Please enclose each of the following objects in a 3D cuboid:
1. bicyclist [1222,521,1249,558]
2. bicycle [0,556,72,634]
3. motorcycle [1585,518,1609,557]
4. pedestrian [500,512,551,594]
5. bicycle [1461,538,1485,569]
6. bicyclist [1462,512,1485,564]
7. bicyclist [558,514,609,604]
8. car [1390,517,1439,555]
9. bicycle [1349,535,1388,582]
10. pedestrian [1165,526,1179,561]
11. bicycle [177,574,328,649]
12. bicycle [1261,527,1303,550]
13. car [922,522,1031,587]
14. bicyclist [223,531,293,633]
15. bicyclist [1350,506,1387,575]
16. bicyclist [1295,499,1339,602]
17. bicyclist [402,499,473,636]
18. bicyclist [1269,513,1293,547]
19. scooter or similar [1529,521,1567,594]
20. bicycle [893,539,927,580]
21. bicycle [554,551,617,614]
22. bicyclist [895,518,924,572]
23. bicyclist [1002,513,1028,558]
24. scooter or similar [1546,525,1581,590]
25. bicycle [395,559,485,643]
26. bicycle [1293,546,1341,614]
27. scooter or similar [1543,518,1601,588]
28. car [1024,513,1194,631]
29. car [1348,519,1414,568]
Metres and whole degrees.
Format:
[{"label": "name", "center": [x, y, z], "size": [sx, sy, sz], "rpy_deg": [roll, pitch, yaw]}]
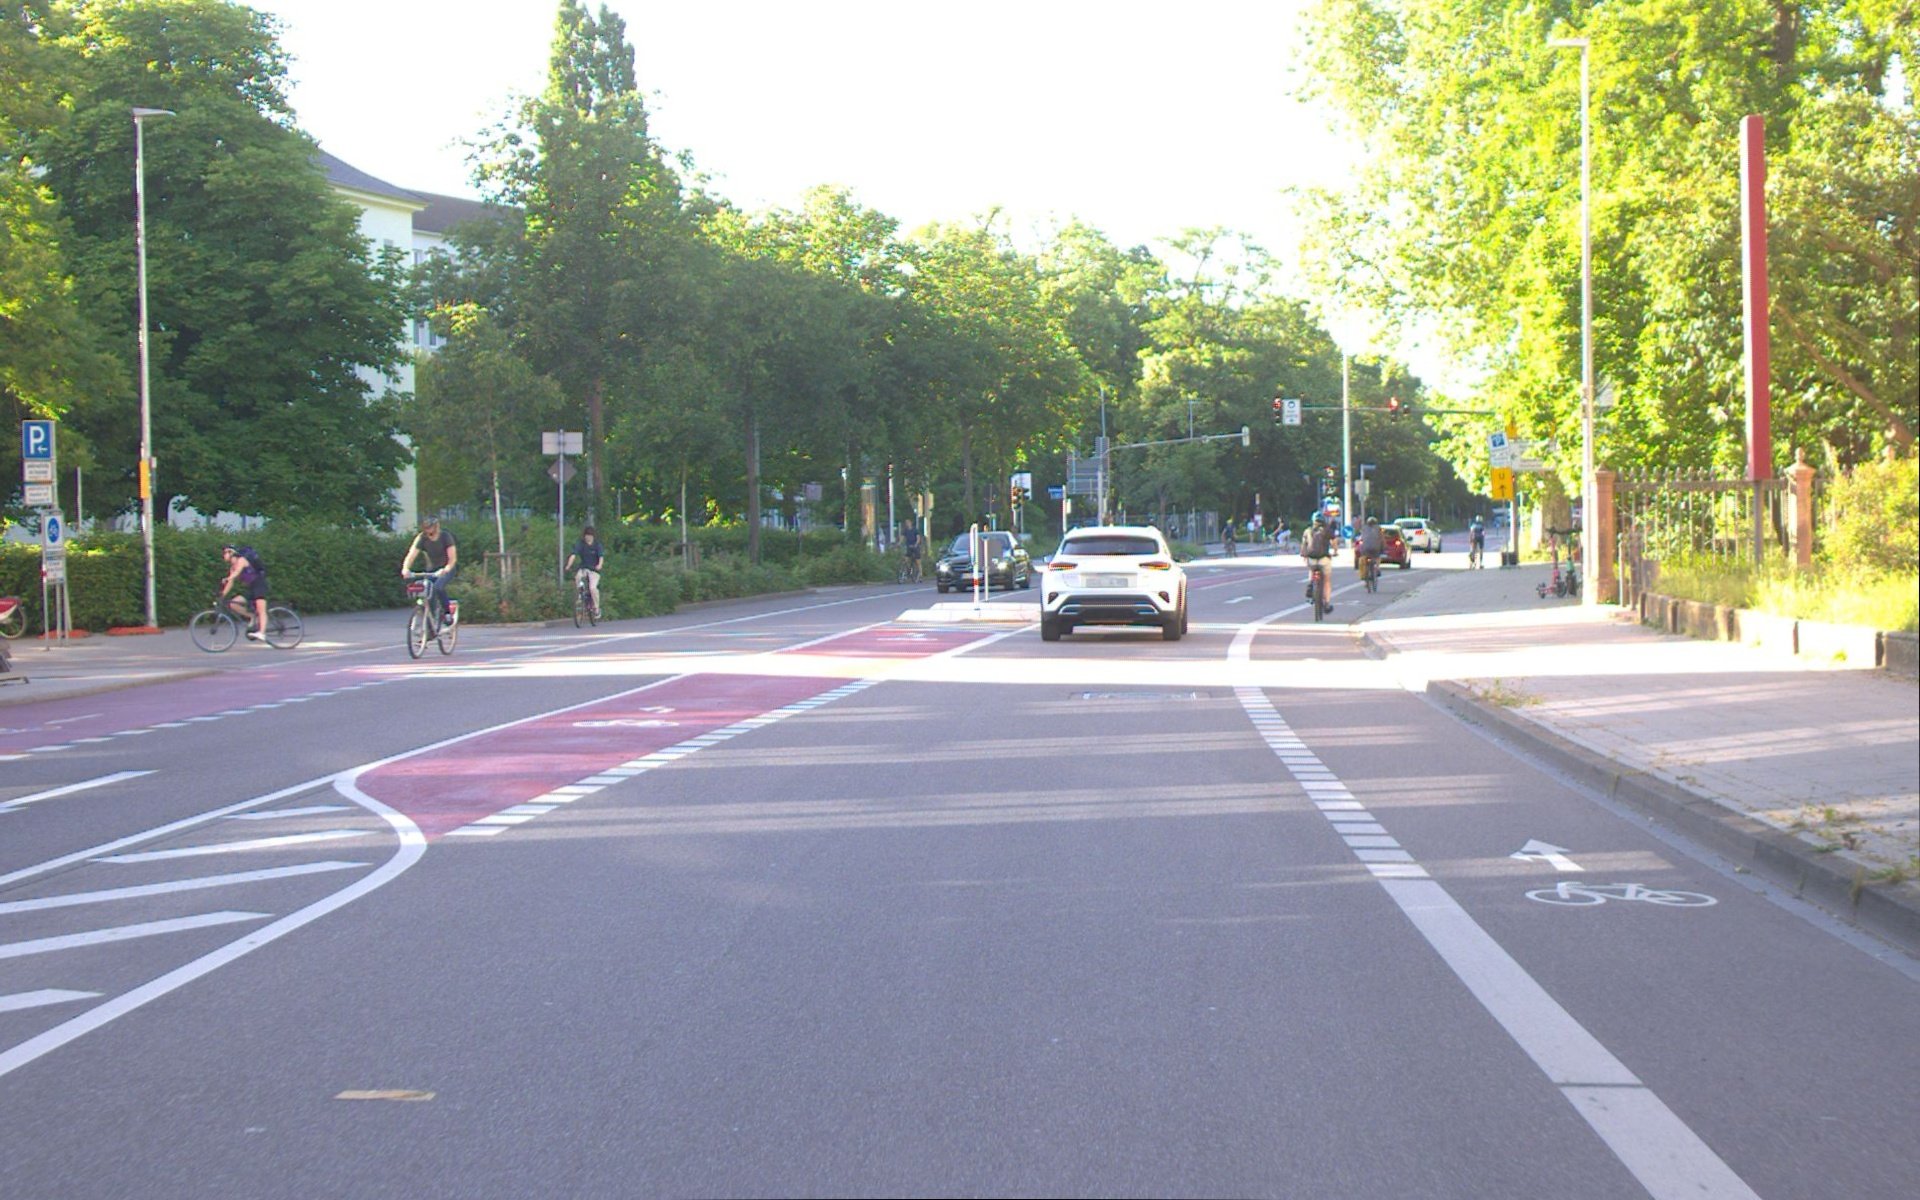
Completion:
[{"label": "bicyclist", "center": [13.006, -2.857, 162.239], "size": [1.093, 1.748, 1.097], "rpy_deg": [-2, 1, 13]}, {"label": "bicycle", "center": [-15.562, -0.066, 55.477], "size": [2.320, 1.225, 0.560], "rpy_deg": [-1, 1, 9]}, {"label": "motorcycle", "center": [19.958, -1.959, 107.725], "size": [0.662, 1.163, 2.326], "rpy_deg": [-3, 1, 10]}, {"label": "pedestrian", "center": [-10.010, -1.081, 79.179], "size": [0.856, 1.845, 1.001], "rpy_deg": [-2, 1, 9]}, {"label": "bicycle", "center": [17.288, -1.558, 115.763], "size": [0.753, 1.022, 1.868], "rpy_deg": [0, 1, 10]}, {"label": "bicyclist", "center": [17.315, -2.099, 115.866], "size": [0.750, 1.744, 0.843], "rpy_deg": [0, 1, 10]}, {"label": "bicyclist", "center": [-6.433, -0.702, 58.771], "size": [0.656, 1.480, 0.665], "rpy_deg": [-4, 1, 5]}, {"label": "car", "center": [19.271, -2.713, 145.581], "size": [1.738, 1.541, 3.998], "rpy_deg": [-1, 2, 12]}, {"label": "bicycle", "center": [9.134, -0.929, 76.789], "size": [0.753, 1.022, 1.868], "rpy_deg": [0, 1, 10]}, {"label": "pedestrian", "center": [11.719, -3.122, 189.961], "size": [0.651, 1.881, 0.662], "rpy_deg": [-2, 1, 13]}, {"label": "bicycle", "center": [-10.584, 0.169, 51.492], "size": [2.104, 0.992, 0.739], "rpy_deg": [-4, 3, -43]}, {"label": "bicycle", "center": [14.210, -2.726, 151.672], "size": [1.767, 0.986, 0.512], "rpy_deg": [-1, 1, 18]}, {"label": "car", "center": [0.422, -1.101, 81.535], "size": [1.812, 1.415, 4.553], "rpy_deg": [-1, 1, 10]}, {"label": "bicyclist", "center": [-10.525, -0.270, 51.541], "size": [0.663, 1.480, 0.739], "rpy_deg": [-4, 1, -43]}, {"label": "bicyclist", "center": [9.138, -1.335, 76.818], "size": [0.747, 1.532, 0.969], "rpy_deg": [0, 1, 10]}, {"label": "bicyclist", "center": [5.659, -0.793, 54.461], "size": [0.636, 1.608, 1.283], "rpy_deg": [0, 1, 9]}, {"label": "bicyclist", "center": [-6.740, -0.426, 44.377], "size": [0.635, 1.704, 0.738], "rpy_deg": [-4, 1, 5]}, {"label": "bicyclist", "center": [14.163, -3.086, 151.677], "size": [0.923, 1.503, 0.506], "rpy_deg": [-1, 1, 18]}, {"label": "scooter or similar", "center": [10.181, -0.740, 59.531], "size": [0.296, 1.235, 1.161], "rpy_deg": [-2, 1, -6]}, {"label": "bicycle", "center": [-1.435, -1.182, 99.193], "size": [0.597, 1.117, 2.026], "rpy_deg": [-4, 1, 8]}, {"label": "bicycle", "center": [-6.401, -0.311, 58.803], "size": [0.651, 0.992, 2.109], "rpy_deg": [-3, 1, 4]}, {"label": "bicyclist", "center": [-1.468, -1.594, 99.174], "size": [0.629, 1.517, 0.724], "rpy_deg": [-4, 1, 8]}, {"label": "bicyclist", "center": [1.790, -2.087, 111.367], "size": [0.646, 1.414, 0.970], "rpy_deg": [-4, 1, 8]}, {"label": "scooter or similar", "center": [10.651, -0.754, 60.716], "size": [0.480, 1.118, 1.336], "rpy_deg": [-2, 1, 6]}, {"label": "bicycle", "center": [-6.710, 0.002, 44.455], "size": [0.646, 0.992, 2.109], "rpy_deg": [-3, 1, 4]}, {"label": "bicycle", "center": [5.655, -0.328, 54.455], "size": [0.643, 1.021, 2.212], "rpy_deg": [1, 2, 9]}, {"label": "scooter or similar", "center": [11.131, -0.858, 62.566], "size": [0.547, 1.238, 1.558], "rpy_deg": [-2, 1, -7]}, {"label": "car", "center": [2.034, -0.403, 45.799], "size": [1.994, 1.448, 3.999], "rpy_deg": [-2, 1, 6]}, {"label": "car", "center": [14.098, -1.904, 114.908], "size": [1.930, 1.528, 3.999], "rpy_deg": [-2, 1, 10]}]
